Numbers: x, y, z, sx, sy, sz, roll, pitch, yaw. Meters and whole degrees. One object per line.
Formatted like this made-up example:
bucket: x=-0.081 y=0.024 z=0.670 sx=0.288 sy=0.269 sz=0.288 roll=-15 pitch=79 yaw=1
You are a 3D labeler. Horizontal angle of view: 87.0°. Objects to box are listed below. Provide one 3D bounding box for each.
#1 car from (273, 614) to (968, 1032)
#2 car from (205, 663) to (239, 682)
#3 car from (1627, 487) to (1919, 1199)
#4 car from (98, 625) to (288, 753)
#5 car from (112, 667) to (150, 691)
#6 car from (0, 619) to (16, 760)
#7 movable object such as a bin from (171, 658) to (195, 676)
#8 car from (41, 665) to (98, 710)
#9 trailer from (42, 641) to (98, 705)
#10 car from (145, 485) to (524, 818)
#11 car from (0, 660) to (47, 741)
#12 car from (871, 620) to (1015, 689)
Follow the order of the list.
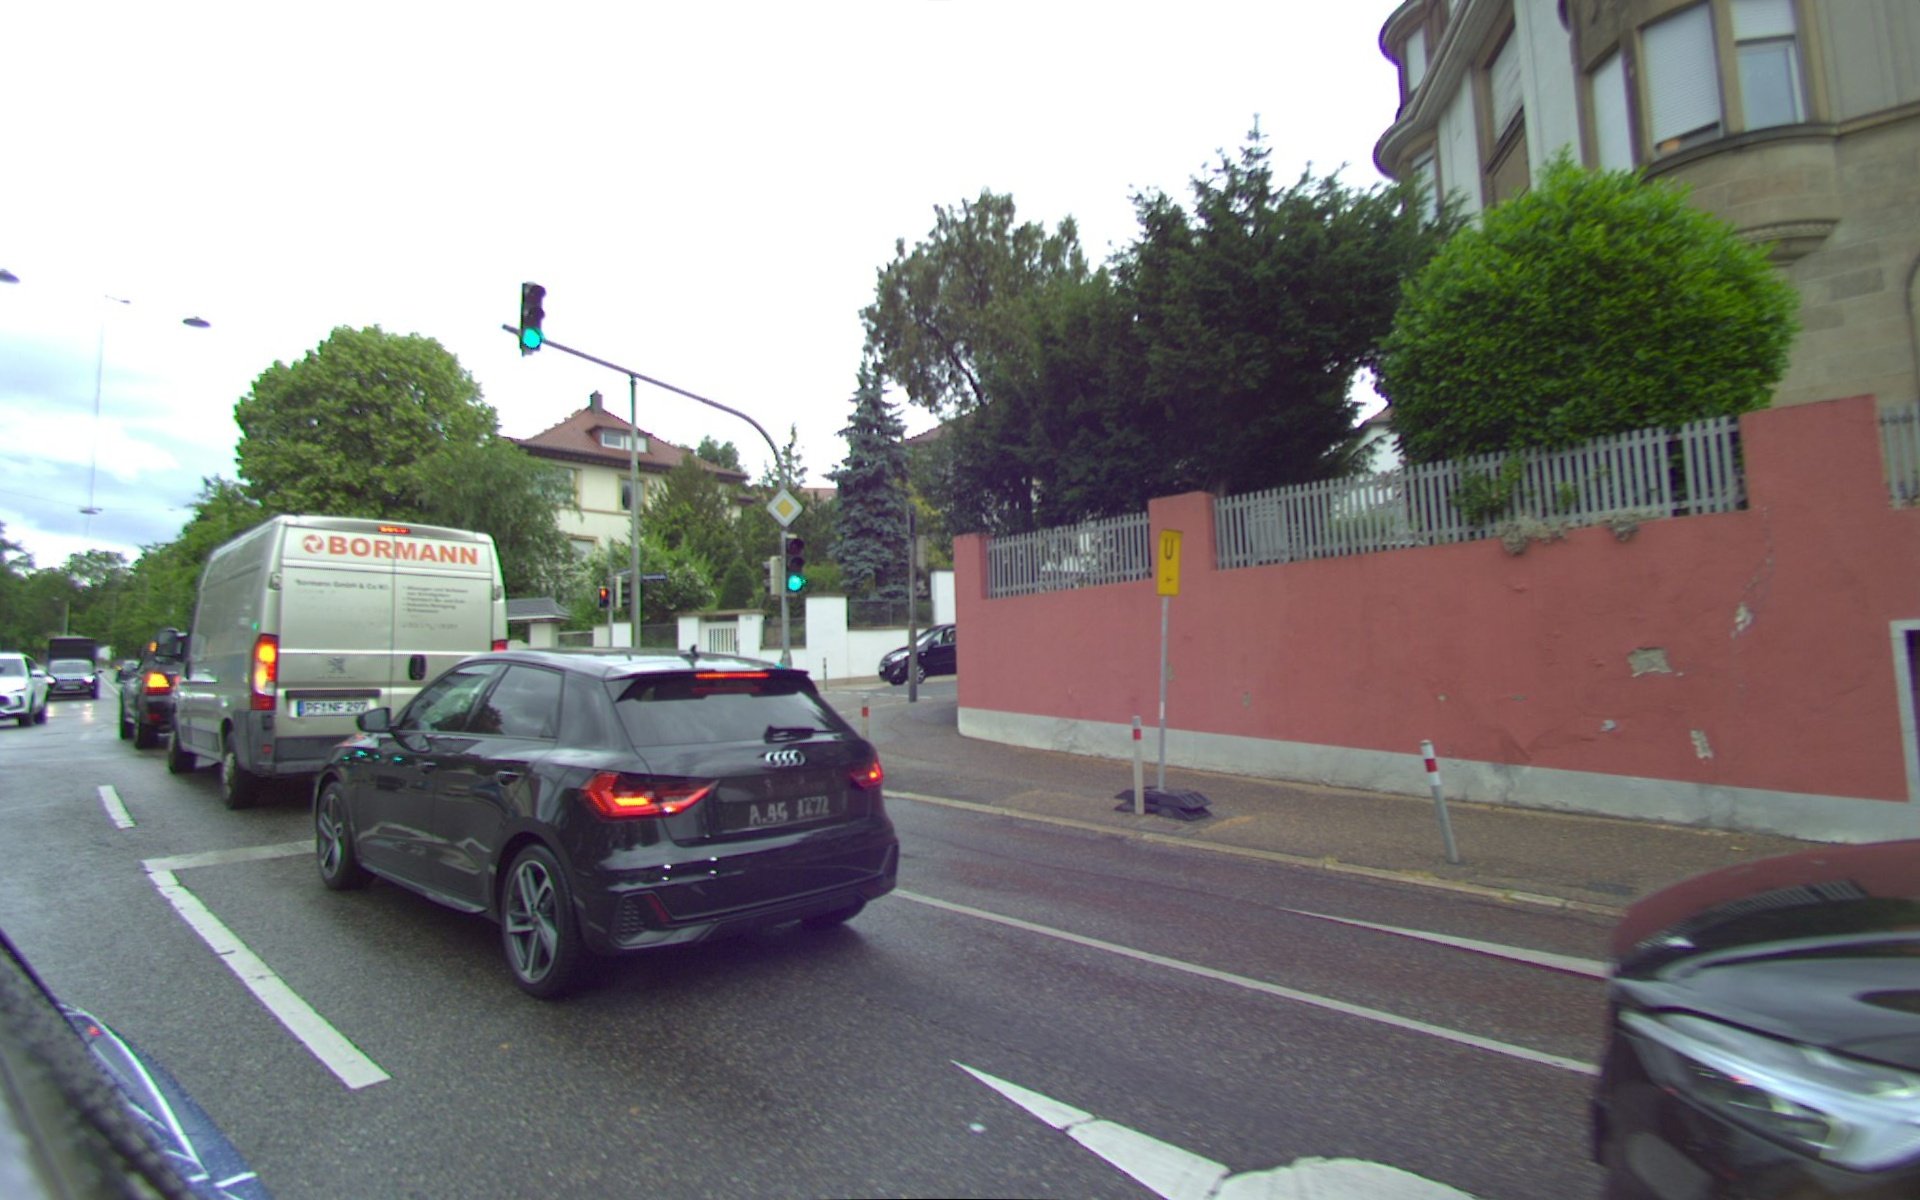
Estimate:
car: x=-2.059 y=0.877 z=5.533 sx=3.998 sy=1.441 sz=1.796 roll=-2 pitch=-5 yaw=41
car: x=-62.286 y=6.080 z=85.403 sx=1.829 sy=1.503 sz=3.869 roll=0 pitch=-3 yaw=-43
car: x=3.257 y=0.654 z=0.640 sx=4.580 sy=1.587 sz=1.857 roll=-2 pitch=-4 yaw=39
car: x=-11.775 y=1.292 z=15.421 sx=1.800 sy=1.665 sz=4.349 roll=2 pitch=-4 yaw=-44
car: x=-55.253 y=5.283 z=67.530 sx=1.829 sy=1.497 sz=5.377 roll=3 pitch=-6 yaw=-38
car: x=-11.324 y=0.993 z=10.573 sx=1.758 sy=1.654 sz=4.207 roll=3 pitch=-4 yaw=-39
movable object such as a bin: x=-58.970 y=5.064 z=76.785 sx=1.122 sy=1.361 sz=1.210 roll=-3 pitch=-5 yaw=40
car: x=-36.721 y=3.573 z=41.753 sx=1.710 sy=1.631 sz=3.480 roll=1 pitch=-2 yaw=-41
trailer: x=-38.870 y=3.154 z=44.211 sx=1.745 sy=2.645 sz=3.037 roll=1 pitch=-2 yaw=-42
car: x=-6.720 y=0.522 z=10.522 sx=2.093 sy=2.565 sz=5.543 roll=4 pitch=-5 yaw=-44
car: x=-21.379 y=2.155 z=22.266 sx=1.760 sy=1.654 sz=4.203 roll=4 pitch=-5 yaw=-43
car: x=-0.468 y=1.438 z=26.684 sx=3.308 sy=1.449 sz=1.676 roll=-3 pitch=-7 yaw=-20
